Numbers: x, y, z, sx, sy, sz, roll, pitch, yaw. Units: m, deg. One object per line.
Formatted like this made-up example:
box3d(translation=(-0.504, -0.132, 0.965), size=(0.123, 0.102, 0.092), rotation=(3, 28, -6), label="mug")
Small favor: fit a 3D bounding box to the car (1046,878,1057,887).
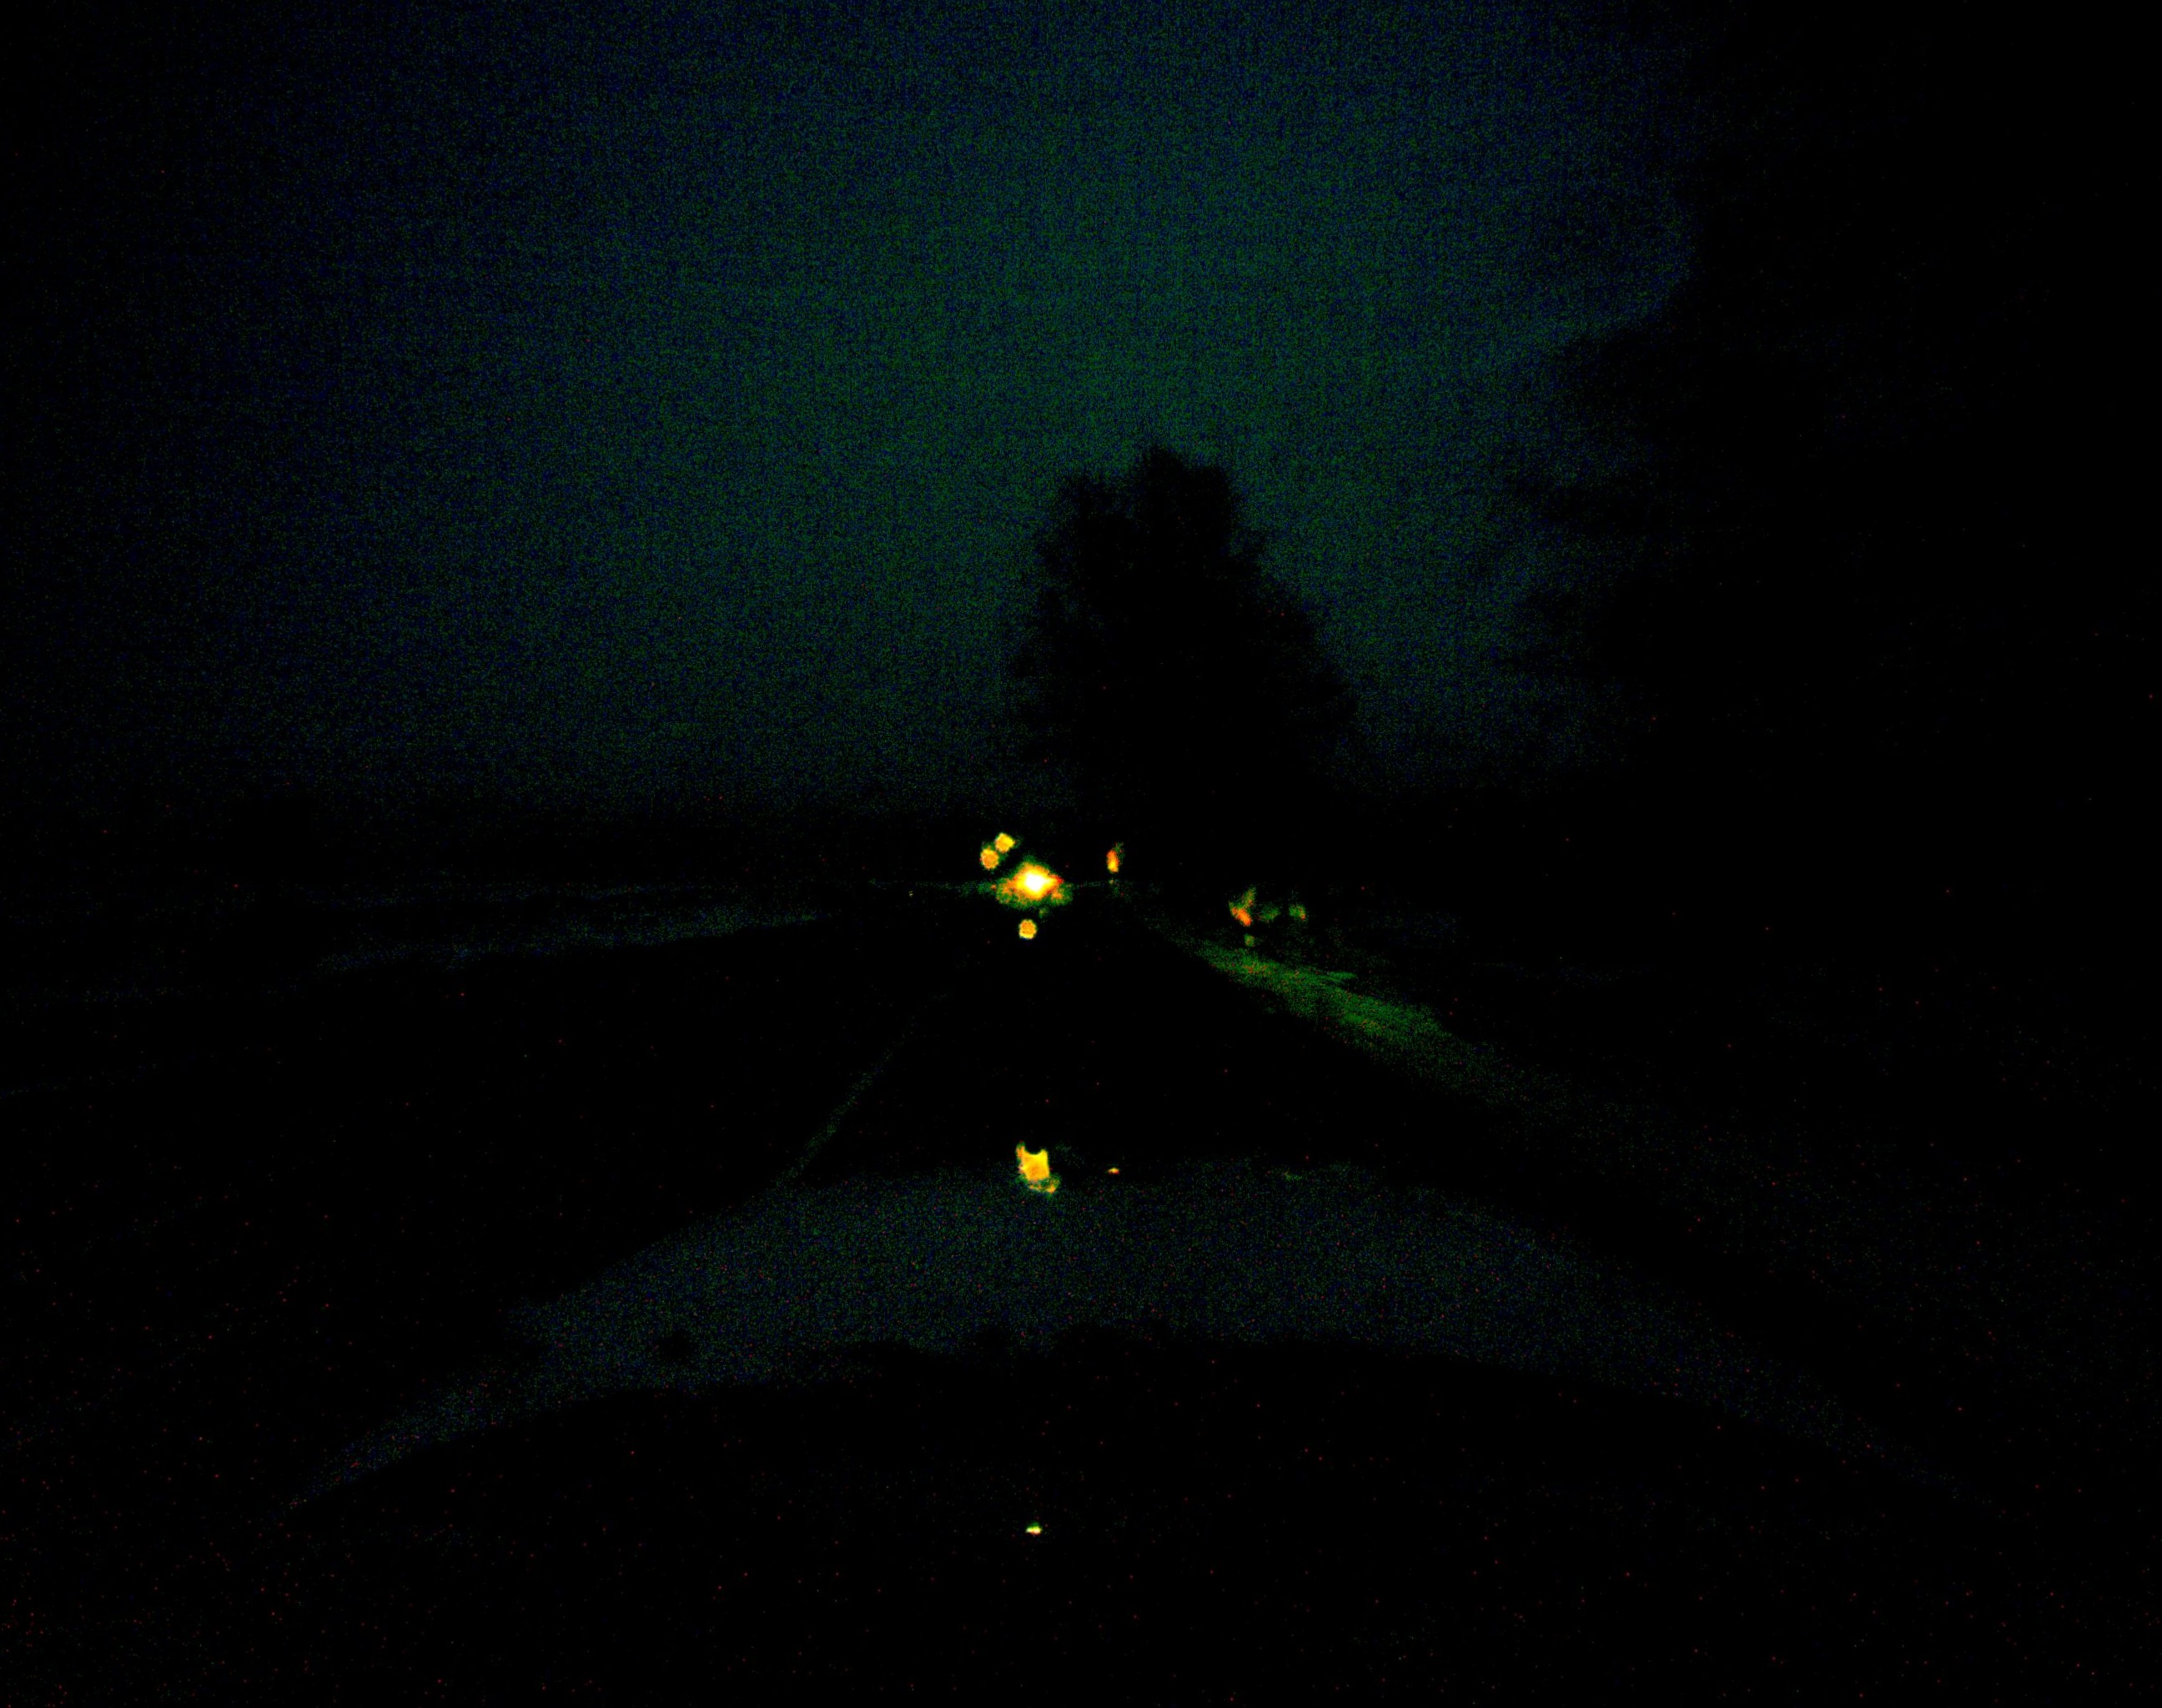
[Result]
box3d(translation=(-5.381, 5.247, 148.280), size=(1.686, 1.552, 3.856), rotation=(-1, -1, 1), label="car")
